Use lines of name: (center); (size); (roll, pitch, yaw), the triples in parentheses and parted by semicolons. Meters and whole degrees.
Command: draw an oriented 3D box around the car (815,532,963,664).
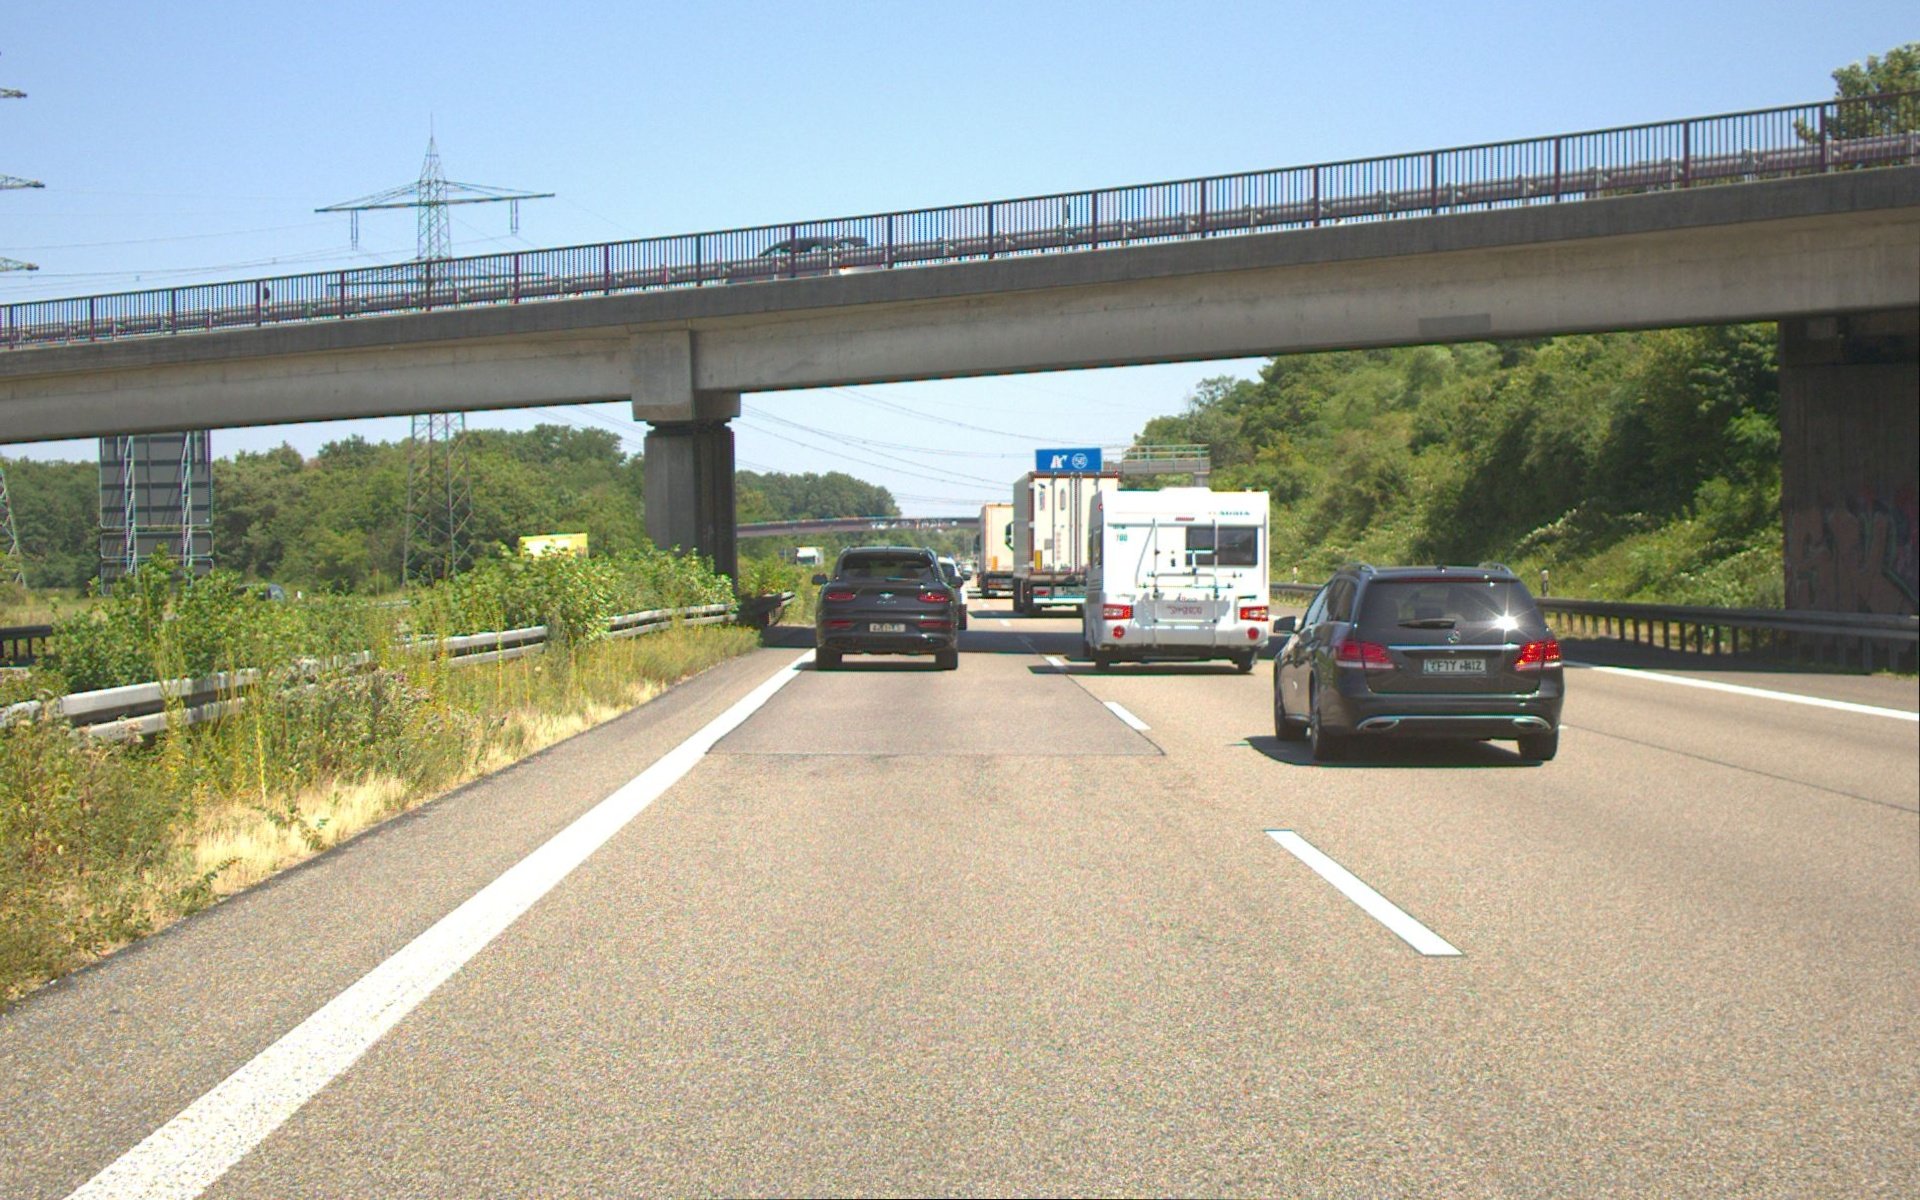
car: (-1.012, -0.054, 48.951); (1.993, 1.766, 4.000); (-1, 1, -1)

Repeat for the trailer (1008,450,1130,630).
trailer: (3.051, -1.680, 100.007); (3.087, 4.868, 12.258); (1, 0, 0)

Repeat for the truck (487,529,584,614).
truck: (-19.923, -1.357, 161.806); (3.512, 3.849, 8.662); (0, 1, 0)

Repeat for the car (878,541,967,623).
car: (-0.879, -0.429, 79.360); (1.961, 1.808, 4.449); (-1, 1, -1)

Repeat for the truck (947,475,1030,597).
truck: (1.201, -2.781, 150.516); (3.512, 5.149, 10.259); (0, 1, 0)

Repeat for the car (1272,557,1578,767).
car: (3.566, 0.417, 27.161); (1.841, 1.500, 4.738); (0, 1, 1)

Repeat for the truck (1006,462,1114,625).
truck: (3.053, -1.719, 106.691); (3.087, 4.868, 6.598); (1, 0, 0)

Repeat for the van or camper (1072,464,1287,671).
van or camper: (2.975, -0.473, 48.150); (2.439, 2.665, 6.350); (-1, 1, -1)
